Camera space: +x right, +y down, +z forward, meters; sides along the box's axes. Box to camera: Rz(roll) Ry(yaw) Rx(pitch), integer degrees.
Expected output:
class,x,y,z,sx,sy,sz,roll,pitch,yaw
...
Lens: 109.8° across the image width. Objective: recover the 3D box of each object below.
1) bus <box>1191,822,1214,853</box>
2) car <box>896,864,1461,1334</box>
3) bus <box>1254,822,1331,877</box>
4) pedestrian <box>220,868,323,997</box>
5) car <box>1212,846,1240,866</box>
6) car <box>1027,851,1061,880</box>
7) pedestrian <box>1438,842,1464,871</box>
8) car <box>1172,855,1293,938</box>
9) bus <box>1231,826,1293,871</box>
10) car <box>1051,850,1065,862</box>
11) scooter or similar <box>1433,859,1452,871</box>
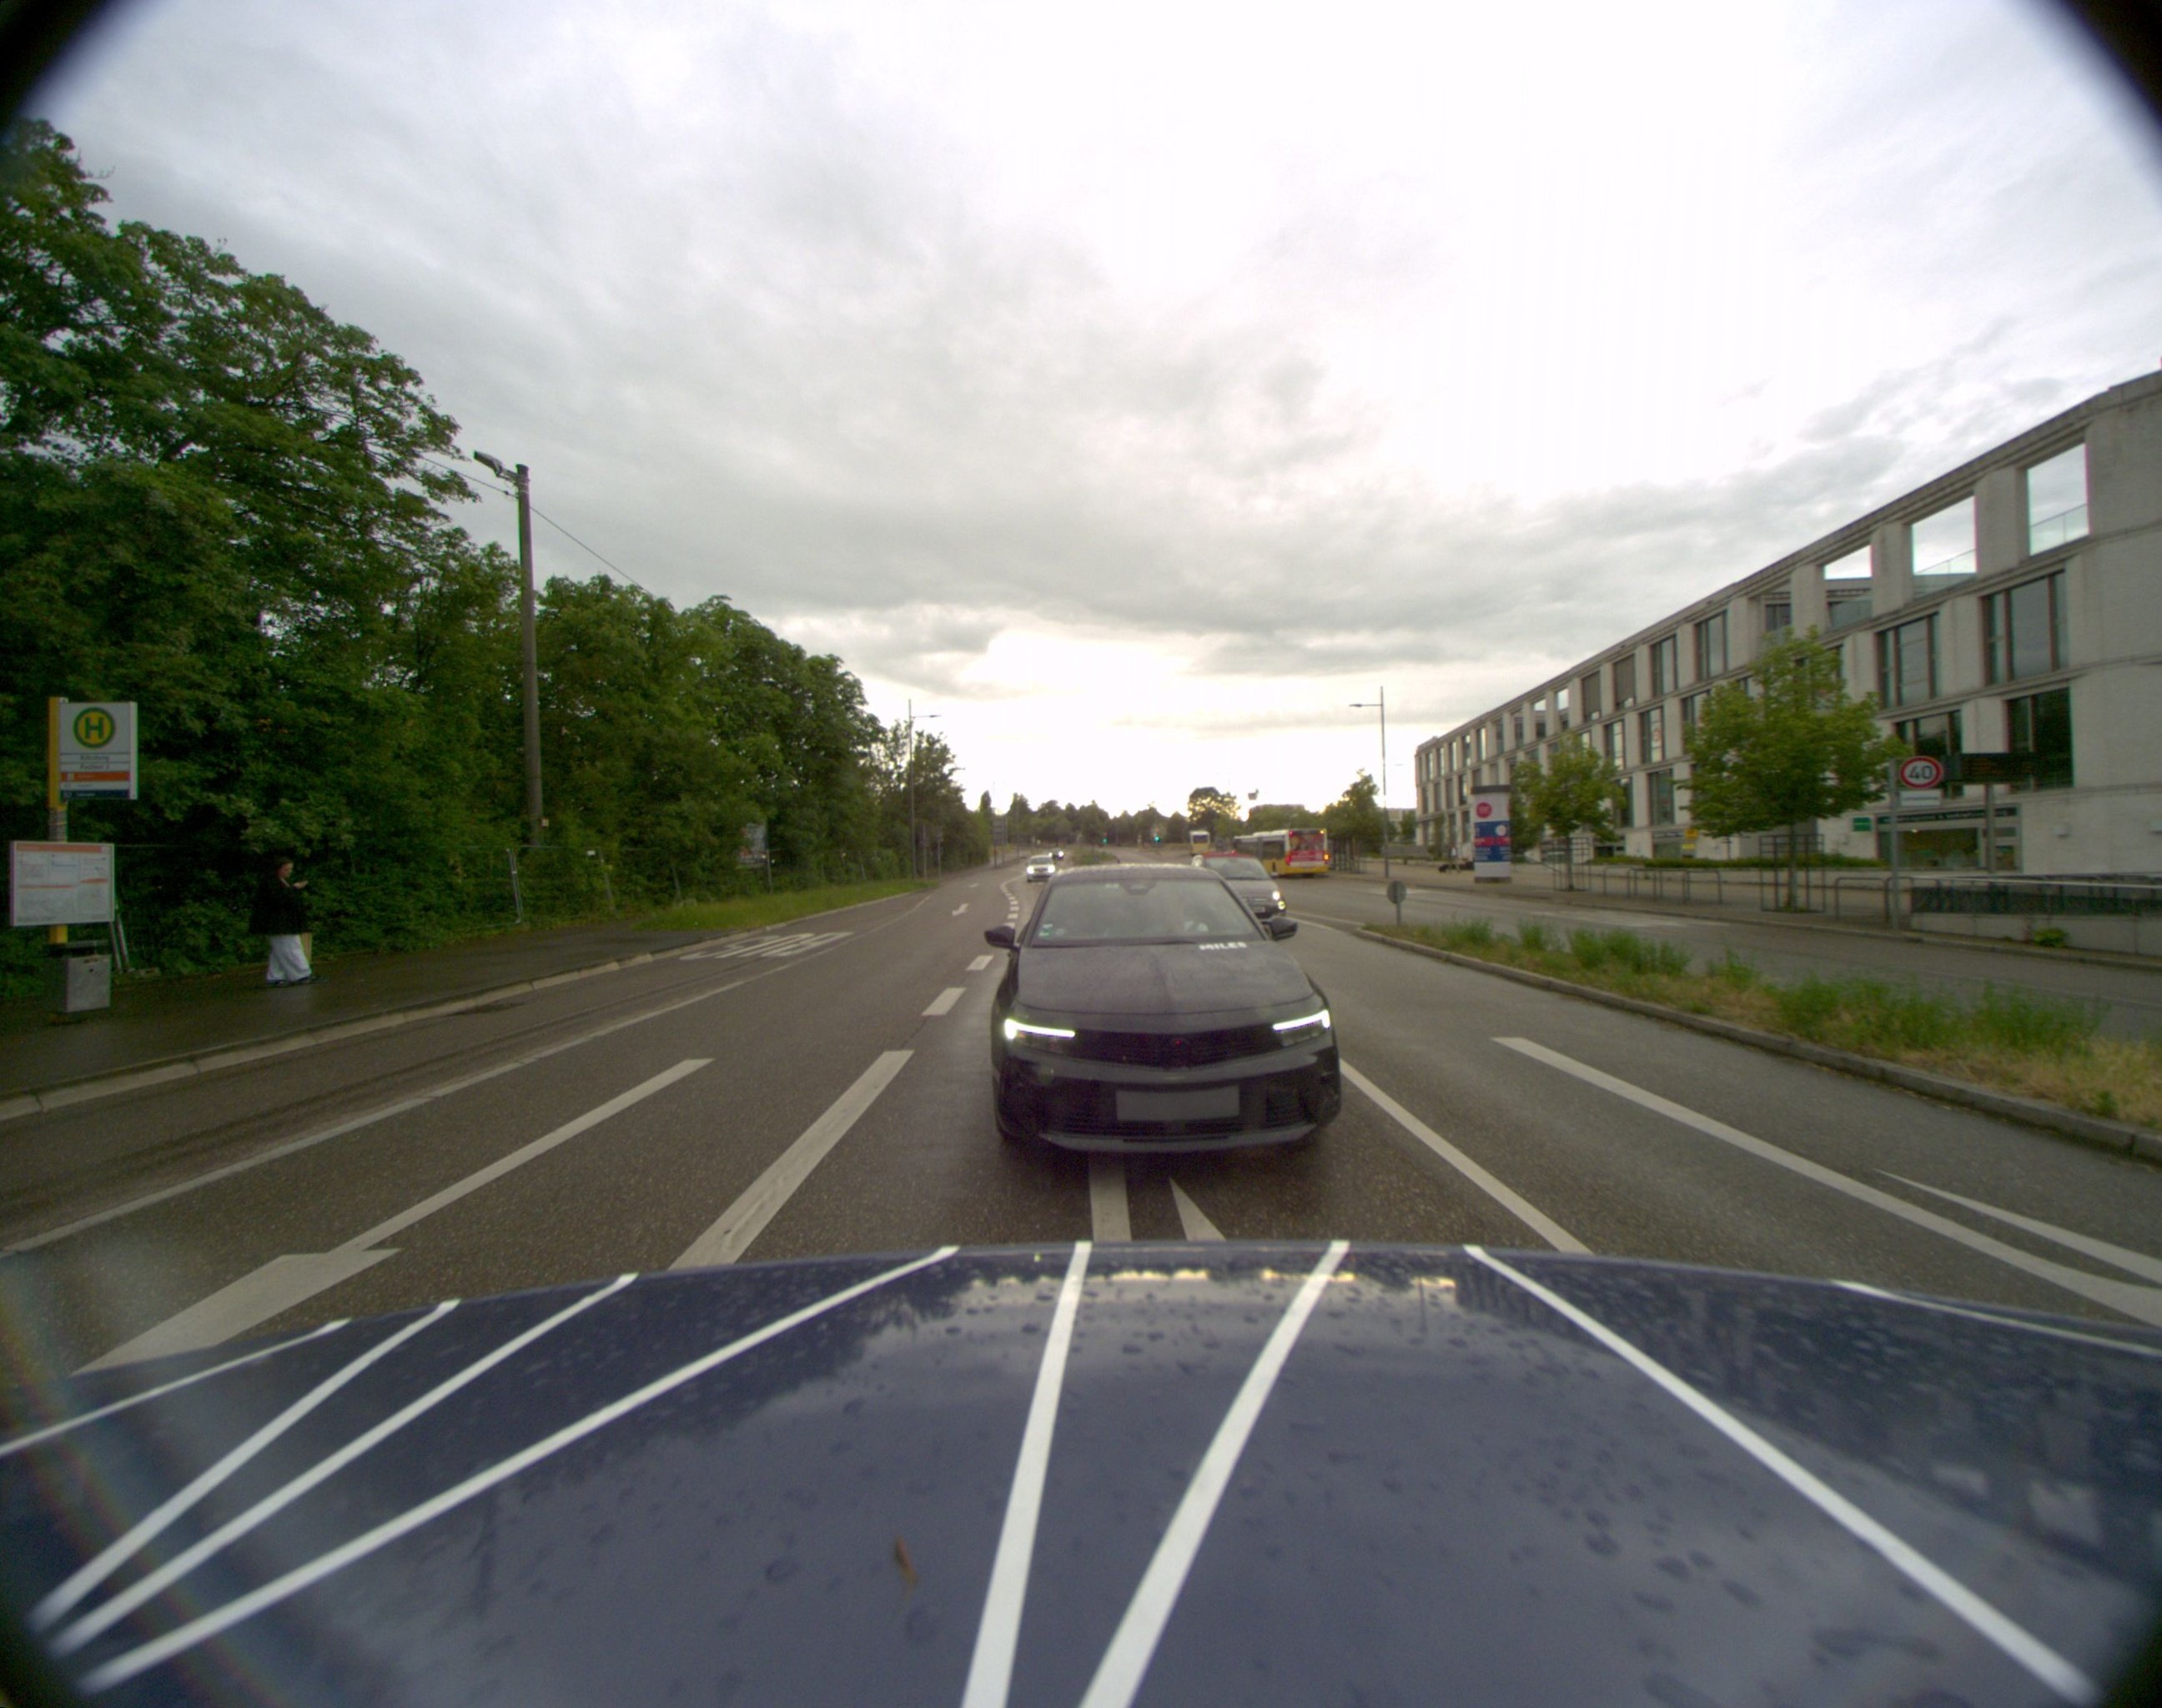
class,x,y,z,sx,sy,sz,roll,pitch,yaw
bus,18.431,-2.439,114.240,2.757,4.129,19.359,-2,1,11
car,0.370,0.886,5.012,1.901,1.456,4.767,-2,1,1
bus,13.817,-0.319,50.537,2.759,3.194,9.207,-2,1,2
pedestrian,-10.586,1.006,9.961,0.588,1.618,0.661,-1,1,1
car,13.574,0.152,71.514,1.867,1.777,3.999,-2,1,1
car,-2.254,0.660,46.294,1.901,1.524,4.766,-2,1,-3
pedestrian,20.808,0.135,42.764,0.867,1.572,0.983,-2,1,-9
car,3.013,0.780,15.757,1.631,1.473,3.505,-1,1,-3
bus,14.108,-0.459,60.042,2.693,3.163,9.912,-2,1,2
car,-3.346,0.265,110.339,1.934,1.649,4.617,-1,0,-2
scooter or similar,20.426,0.633,42.918,0.641,0.648,0.832,-1,1,-2
